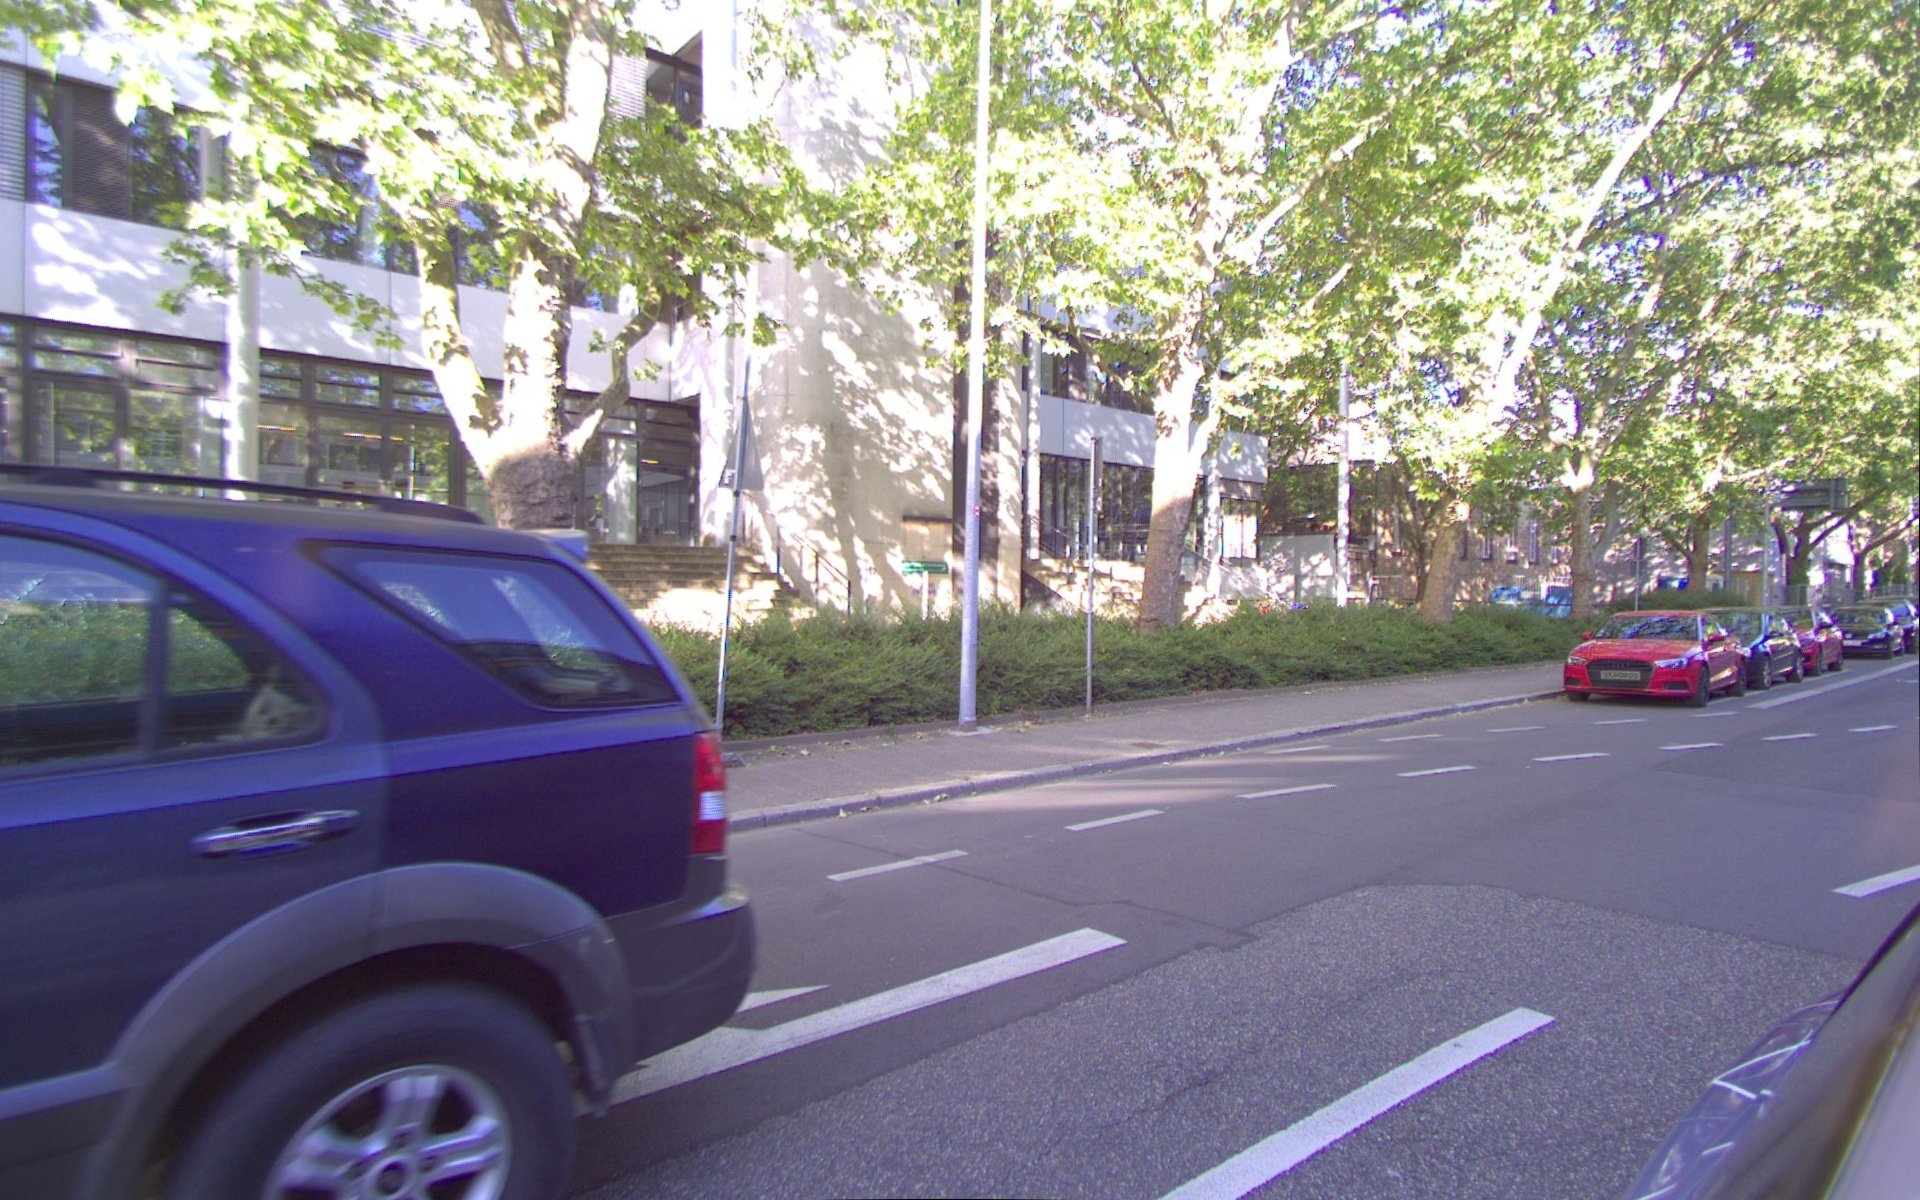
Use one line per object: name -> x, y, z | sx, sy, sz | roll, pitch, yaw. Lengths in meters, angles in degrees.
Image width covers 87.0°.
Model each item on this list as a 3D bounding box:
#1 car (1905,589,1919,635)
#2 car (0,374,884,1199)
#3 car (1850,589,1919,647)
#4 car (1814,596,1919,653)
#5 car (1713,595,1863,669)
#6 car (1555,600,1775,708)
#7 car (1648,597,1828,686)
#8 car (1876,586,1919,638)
car -> 38.888, 0.448, 39.974 | 4.403, 1.781, 1.865 | 0, 0, -41
car -> -2.466, 0.537, 1.942 | 4.403, 1.786, 1.865 | 0, 0, -41
car -> 29.584, 0.517, 31.813 | 4.403, 1.689, 1.865 | 0, 0, -41
car -> 25.804, 0.624, 28.619 | 4.403, 1.469, 1.865 | 0, 0, -41
car -> 18.448, 0.640, 22.485 | 4.403, 1.469, 1.865 | 0, 0, -41
car -> 11.333, 0.741, 16.147 | 4.403, 1.469, 1.865 | 0, 0, -41
car -> 14.780, 0.695, 19.148 | 4.403, 1.469, 1.865 | 0, 0, -41
car -> 33.922, 0.399, 35.704 | 4.403, 1.781, 1.865 | 0, 0, -41
